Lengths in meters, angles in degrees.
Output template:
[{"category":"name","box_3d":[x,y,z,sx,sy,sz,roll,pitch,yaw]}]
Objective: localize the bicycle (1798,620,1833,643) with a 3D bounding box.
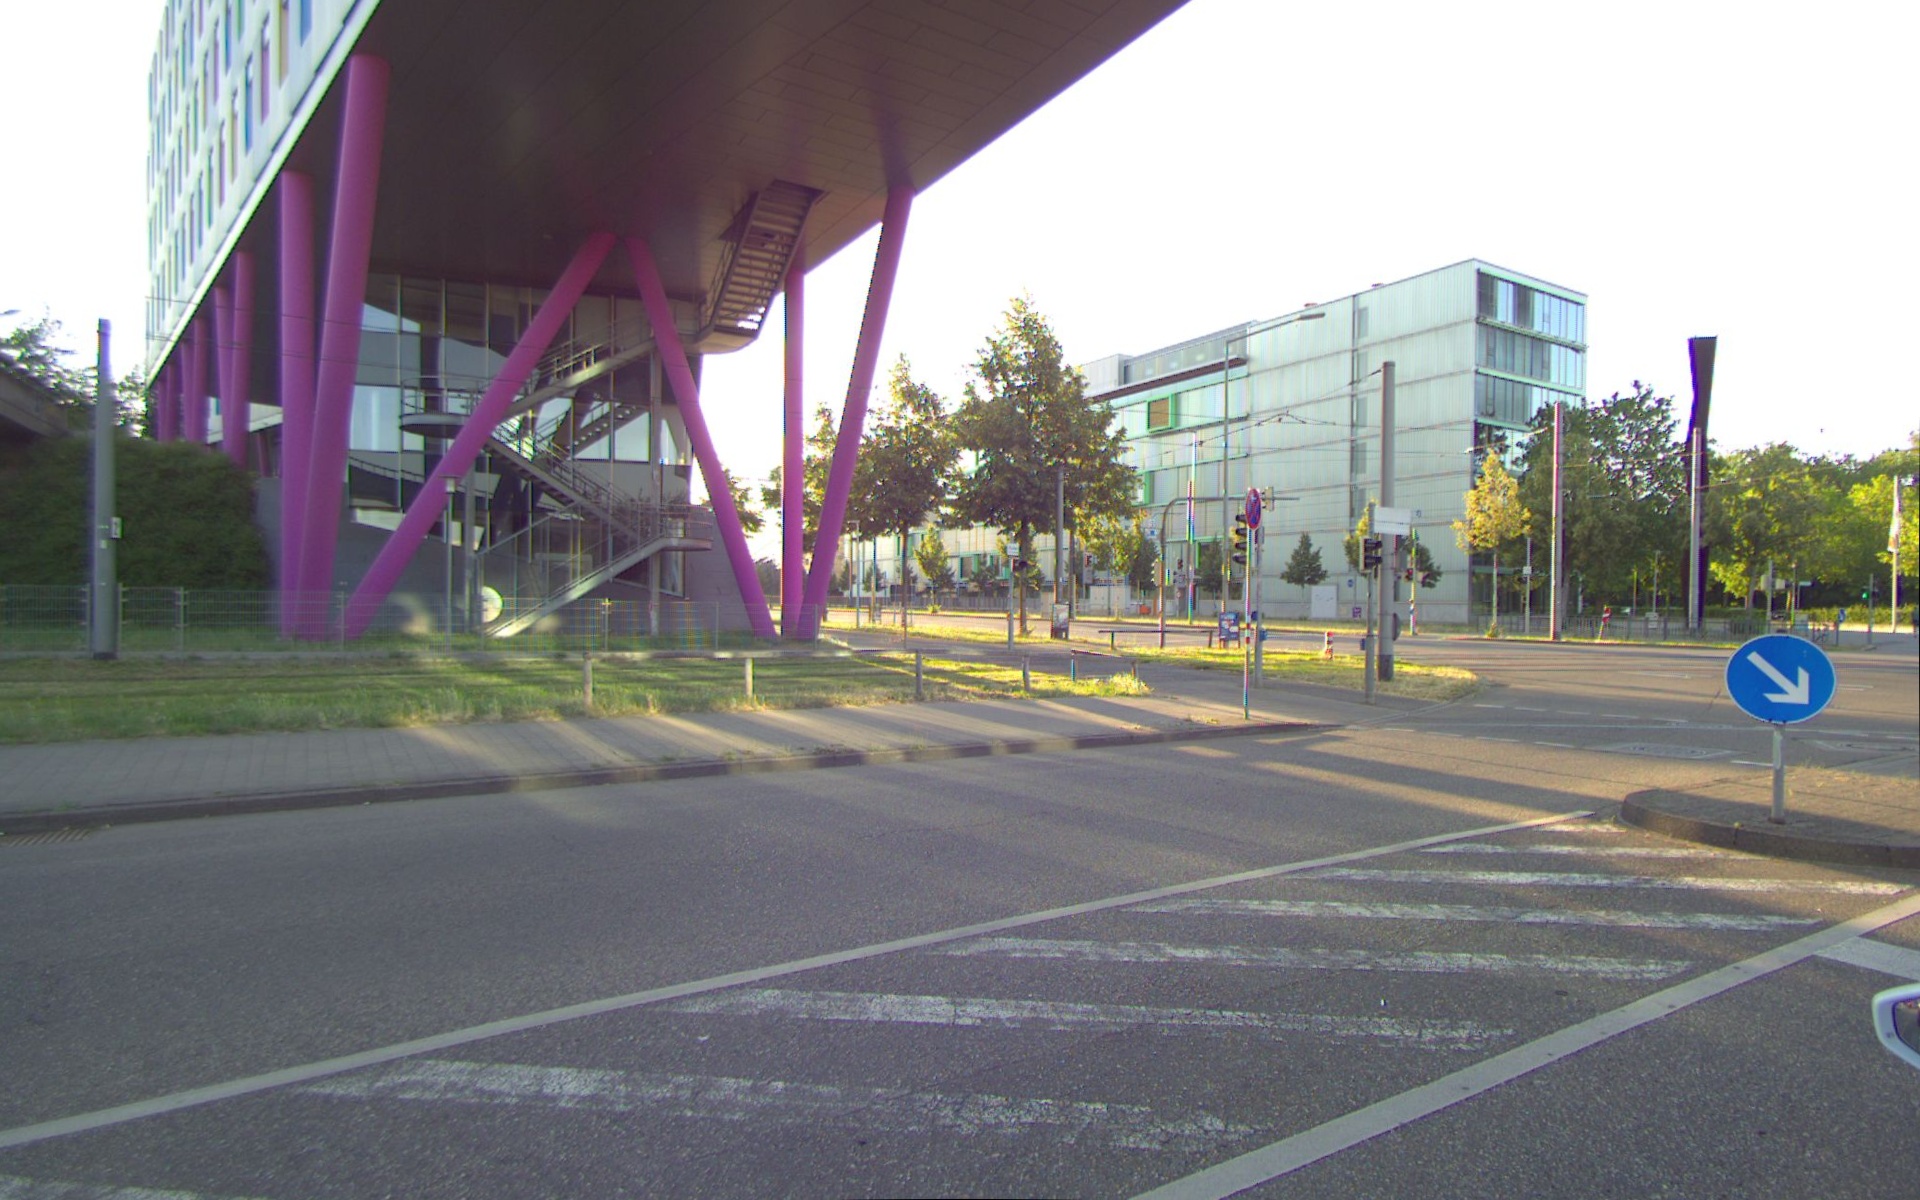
[{"category":"bicycle","box_3d":[44.130,1.634,51.811,2.367,1.151,0.695,1,0,-33]}]

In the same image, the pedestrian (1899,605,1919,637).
[{"category":"pedestrian","box_3d":[54.258,1.175,57.274,0.882,1.778,0.718,1,0,35]}]
